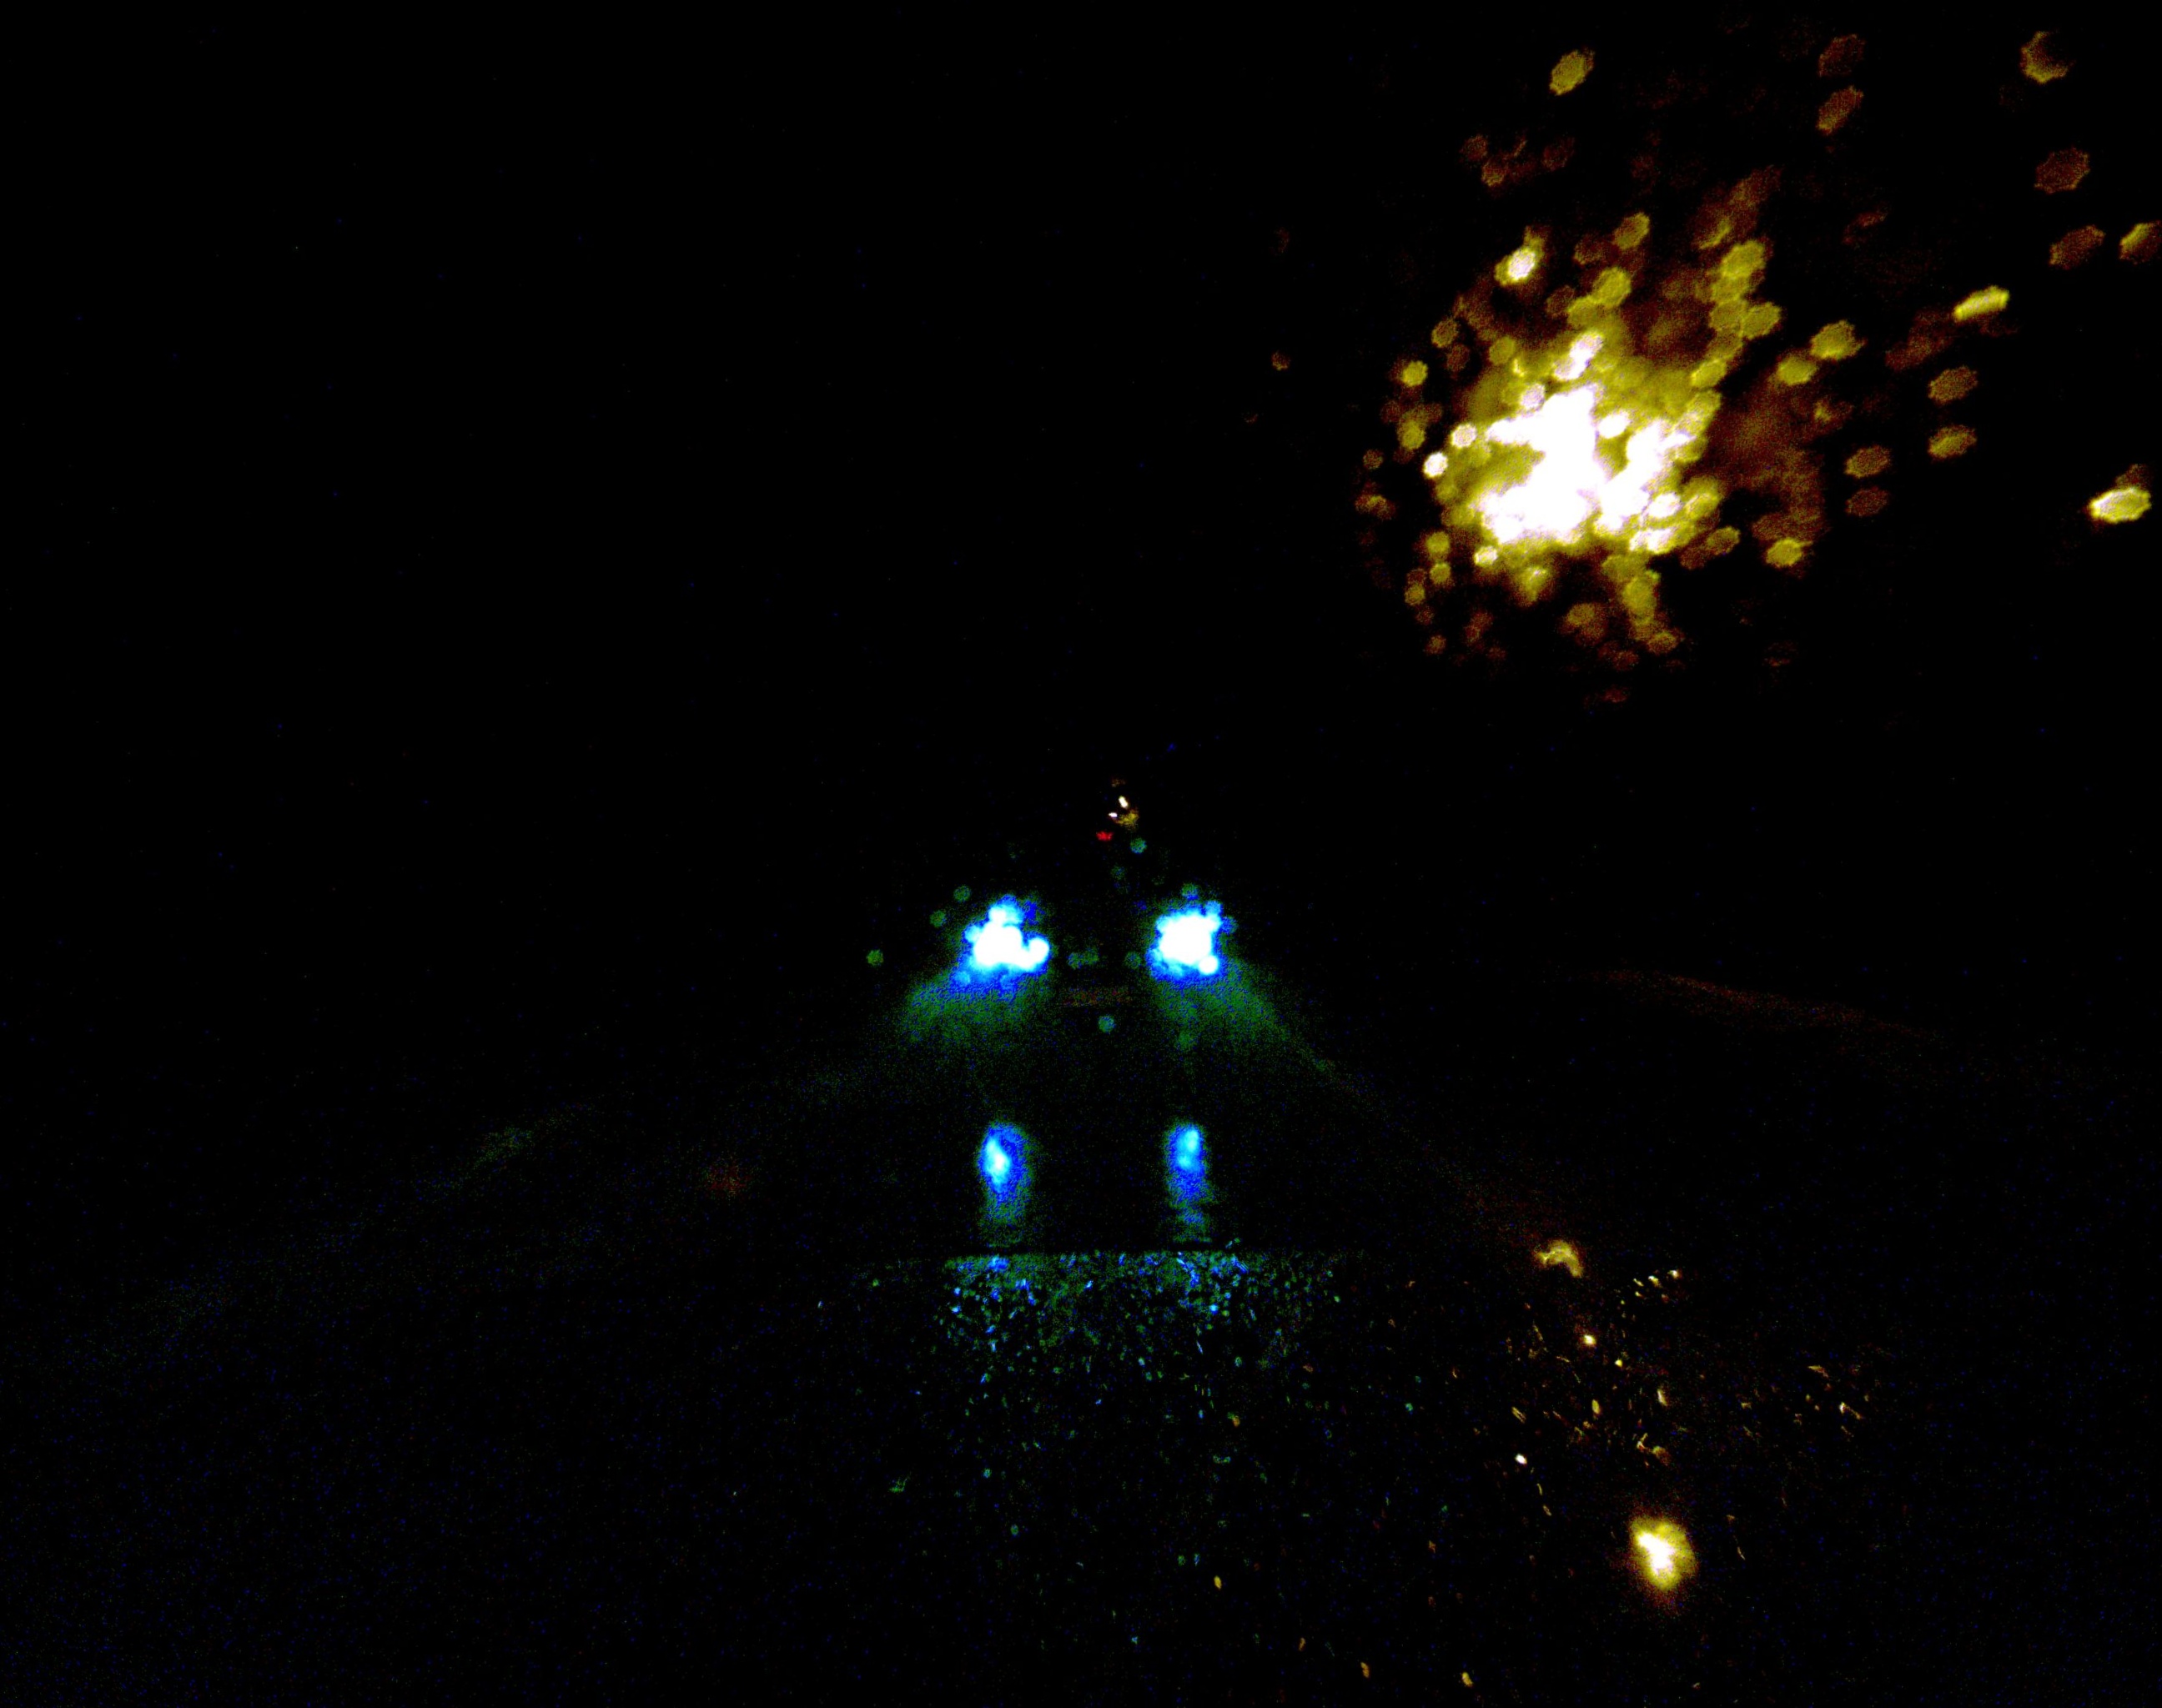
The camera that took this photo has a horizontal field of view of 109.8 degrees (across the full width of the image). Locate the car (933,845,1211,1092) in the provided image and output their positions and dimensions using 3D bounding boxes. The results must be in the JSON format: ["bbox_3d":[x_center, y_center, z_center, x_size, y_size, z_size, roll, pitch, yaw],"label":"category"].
[{"bbox_3d":[0.083,0.777,7.416,1.893,1.678,4.340,-1,1,4],"label":"car"}]
